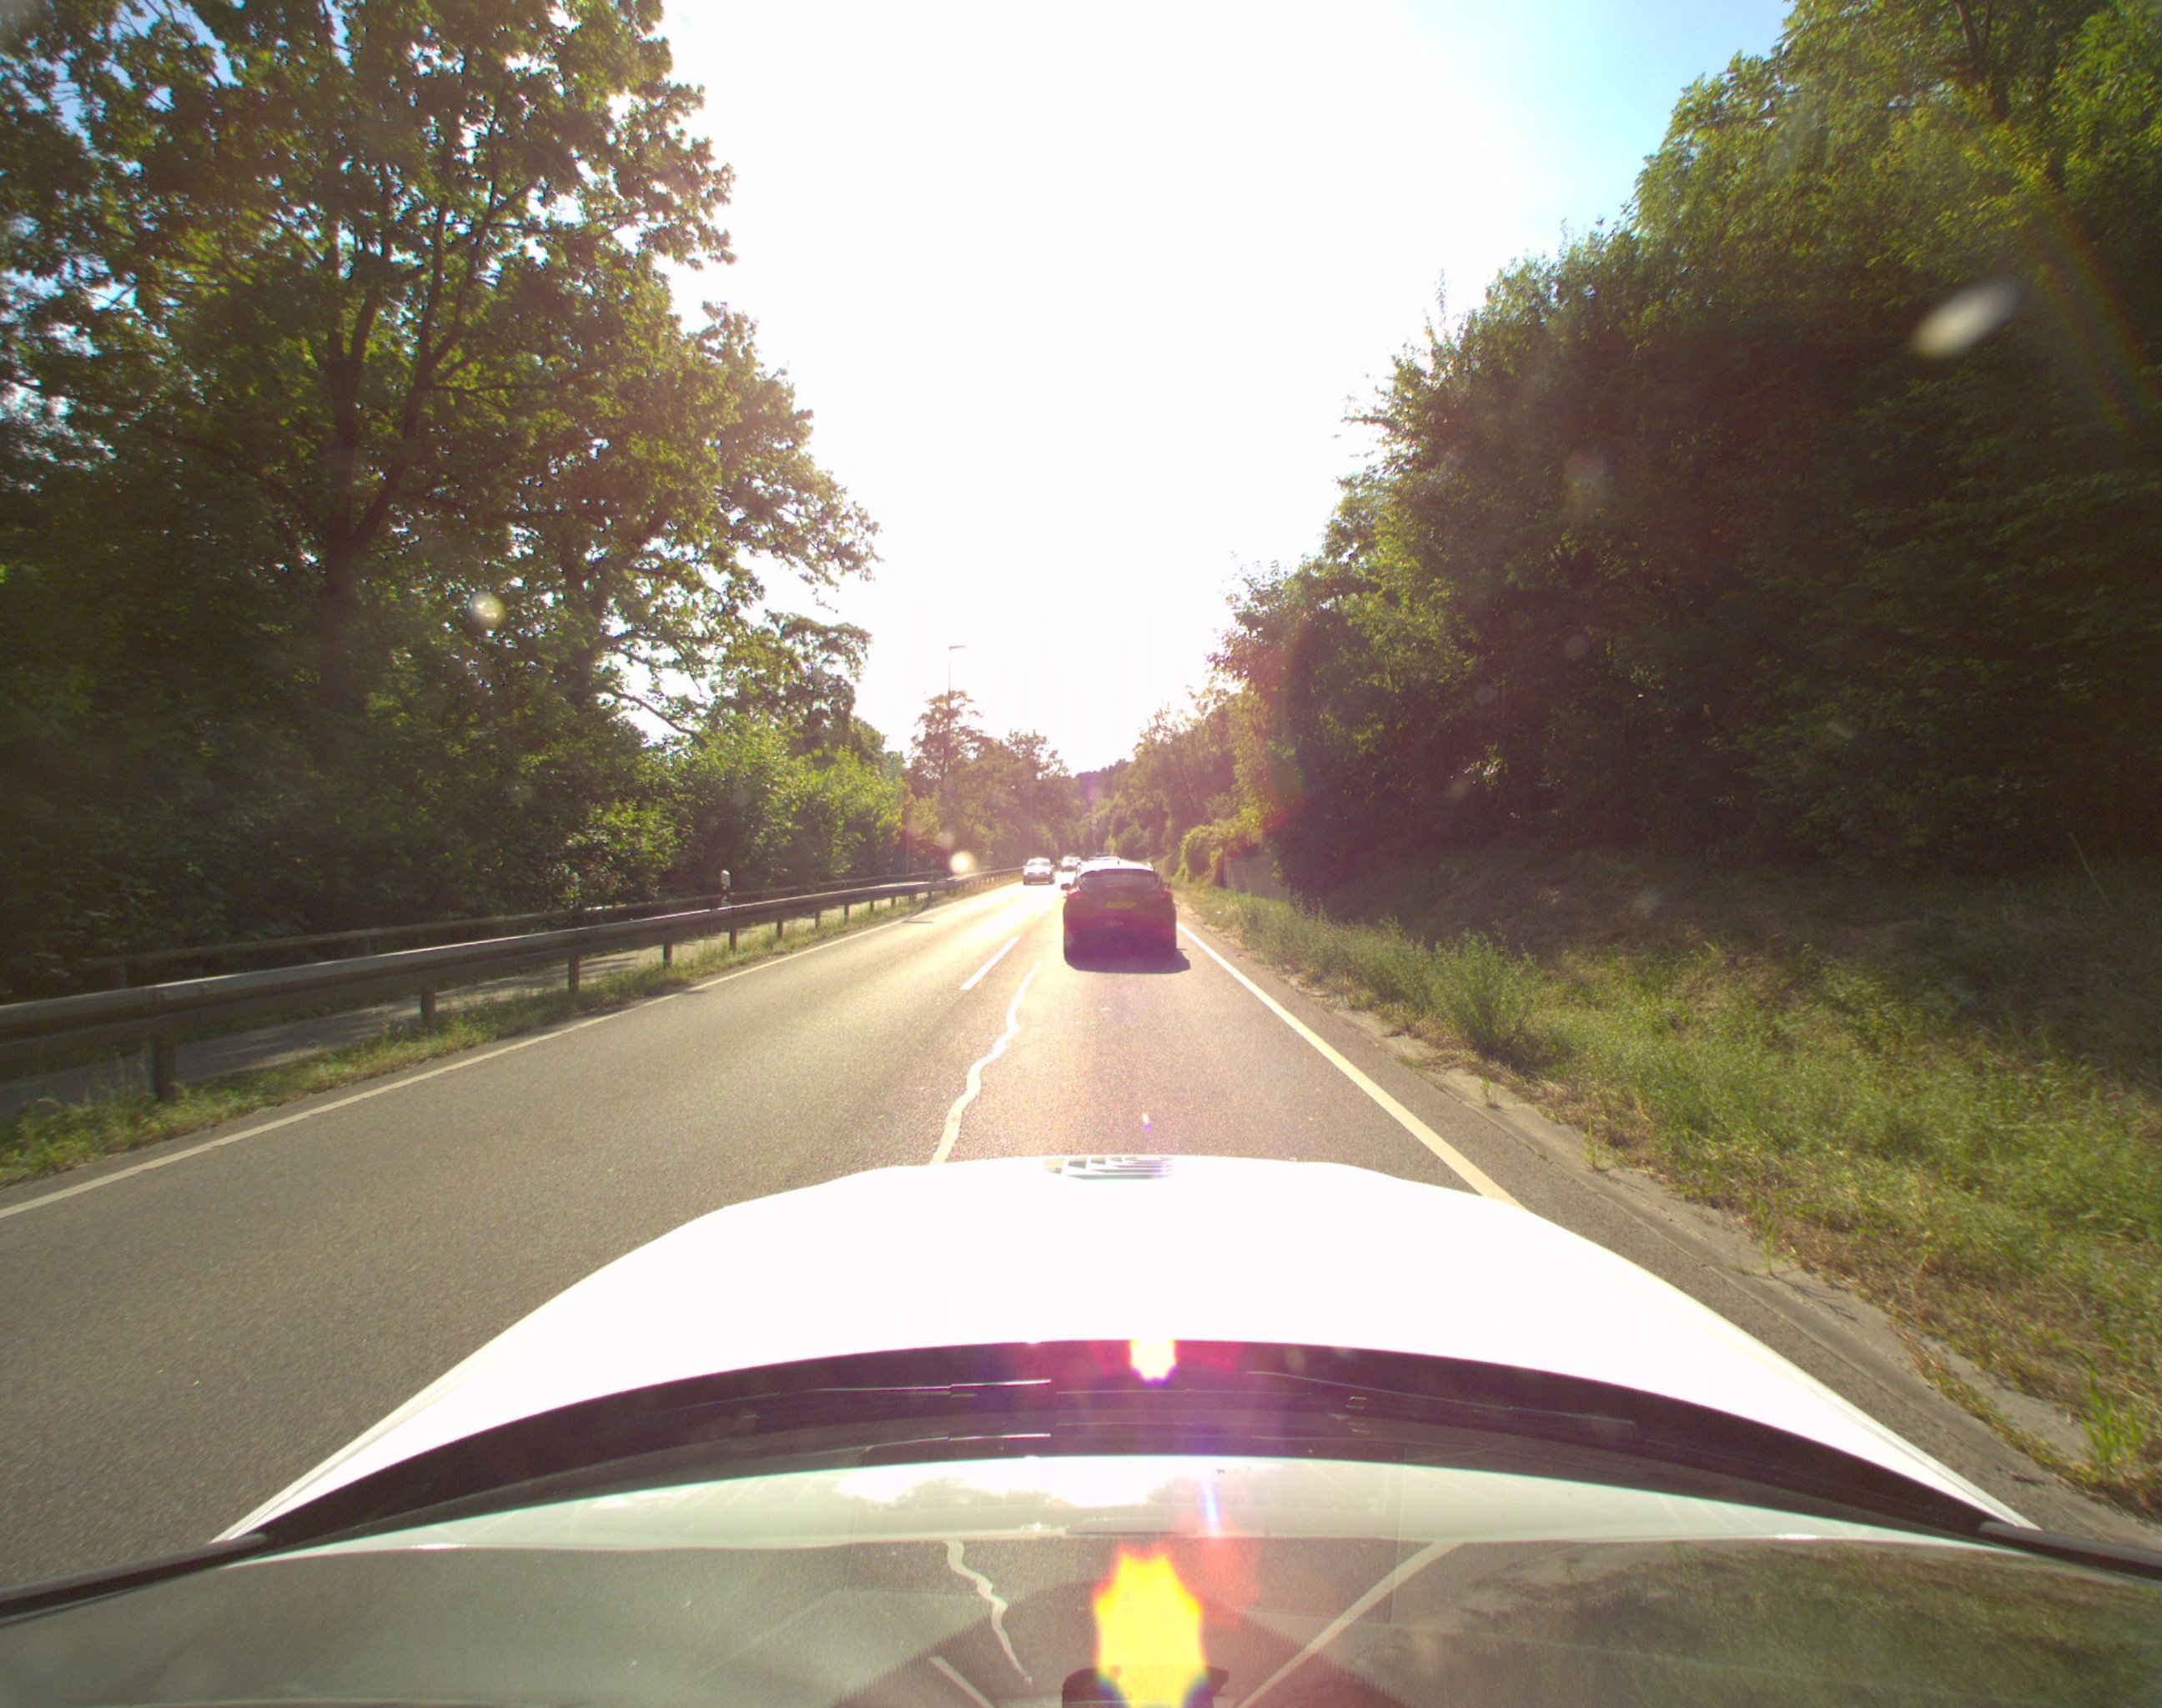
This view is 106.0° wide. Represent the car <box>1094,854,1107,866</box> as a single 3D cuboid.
[{"bbox_3d":[3.002,0.854,124.861,1.857,1.781,3.999,-1,0,0],"label":"car"}]

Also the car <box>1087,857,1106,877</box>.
[{"bbox_3d":[1.372,1.106,70.214,1.624,1.596,4.001,-1,0,2],"label":"car"}]

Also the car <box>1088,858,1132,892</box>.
[{"bbox_3d":[1.285,0.907,36.142,1.798,1.391,4.001,-1,0,2],"label":"car"}]

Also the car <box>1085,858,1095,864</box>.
[{"bbox_3d":[2.173,1.804,202.019,1.991,1.519,3.992,-1,0,-6],"label":"car"}]

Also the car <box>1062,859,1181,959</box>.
[{"bbox_3d":[0.661,0.826,13.942,1.733,1.456,4.001,-1,-1,2],"label":"car"}]

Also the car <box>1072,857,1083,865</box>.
[{"bbox_3d":[-0.657,1.177,144.037,1.768,1.387,4.001,-1,0,2],"label":"car"}]

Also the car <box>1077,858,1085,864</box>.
[{"bbox_3d":[-0.043,2.029,231.975,1.992,1.519,3.990,-1,0,-7],"label":"car"}]

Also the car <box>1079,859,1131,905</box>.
[{"bbox_3d":[0.878,0.910,27.987,1.654,1.418,4.003,-1,0,3],"label":"car"}]

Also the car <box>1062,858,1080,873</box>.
[{"bbox_3d":[-1.036,1.204,86.019,1.676,1.463,4.198,-1,0,1],"label":"car"}]

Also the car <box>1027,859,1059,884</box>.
[{"bbox_3d":[-2.249,1.013,48.631,1.617,1.377,4.048,-1,0,1],"label":"car"}]

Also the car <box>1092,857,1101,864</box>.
[{"bbox_3d":[3.373,1.327,176.292,1.812,1.519,4.001,-1,0,2],"label":"car"}]

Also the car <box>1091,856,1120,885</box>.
[{"bbox_3d":[1.455,0.928,48.013,1.624,1.596,4.001,-1,0,2],"label":"car"}]
